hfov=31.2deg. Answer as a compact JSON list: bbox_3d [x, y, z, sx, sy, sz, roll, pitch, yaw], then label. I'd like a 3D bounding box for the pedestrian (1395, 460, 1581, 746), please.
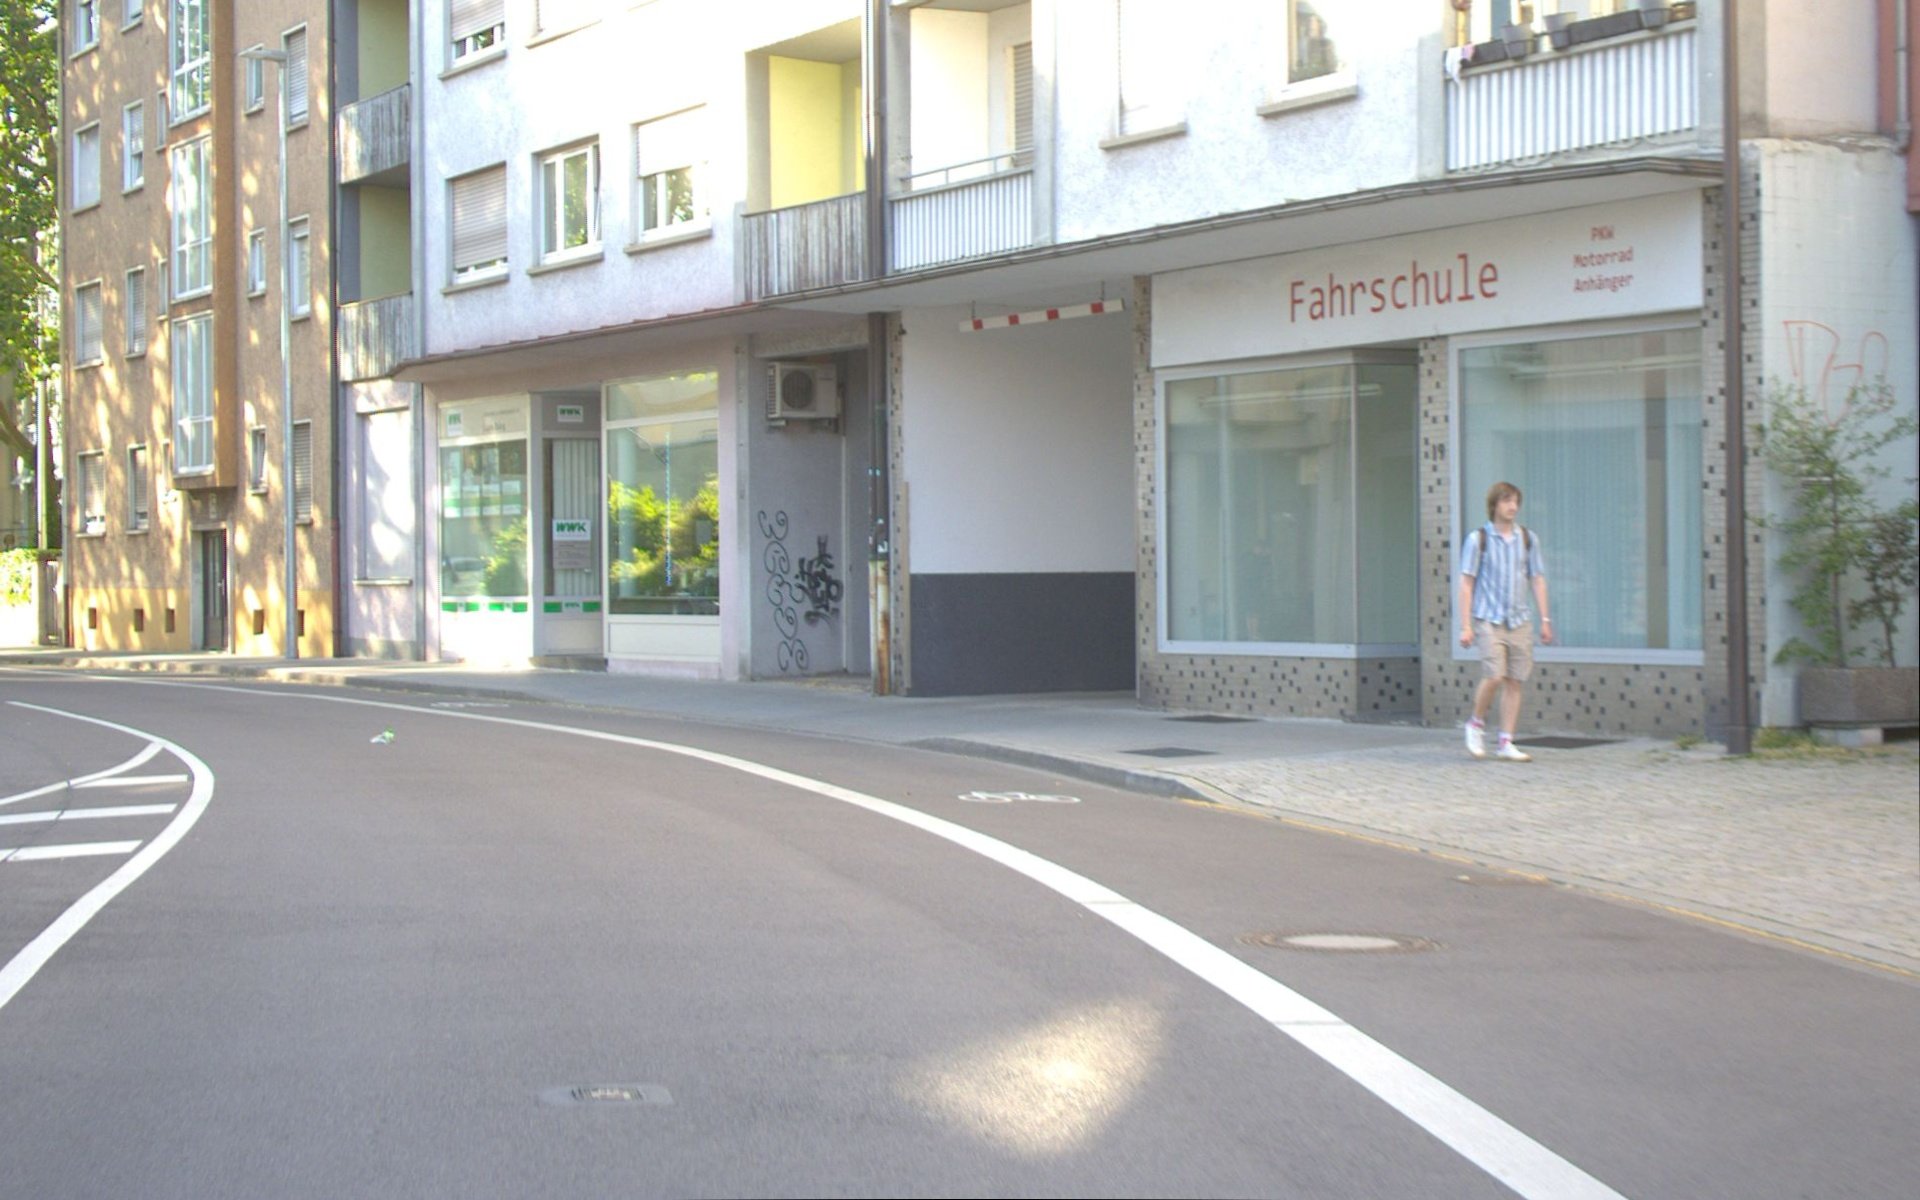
[{"bbox_3d":[3.535,0.012,23.054,0.731,1.848,0.948,-3,1,-29],"label":"pedestrian"}]
